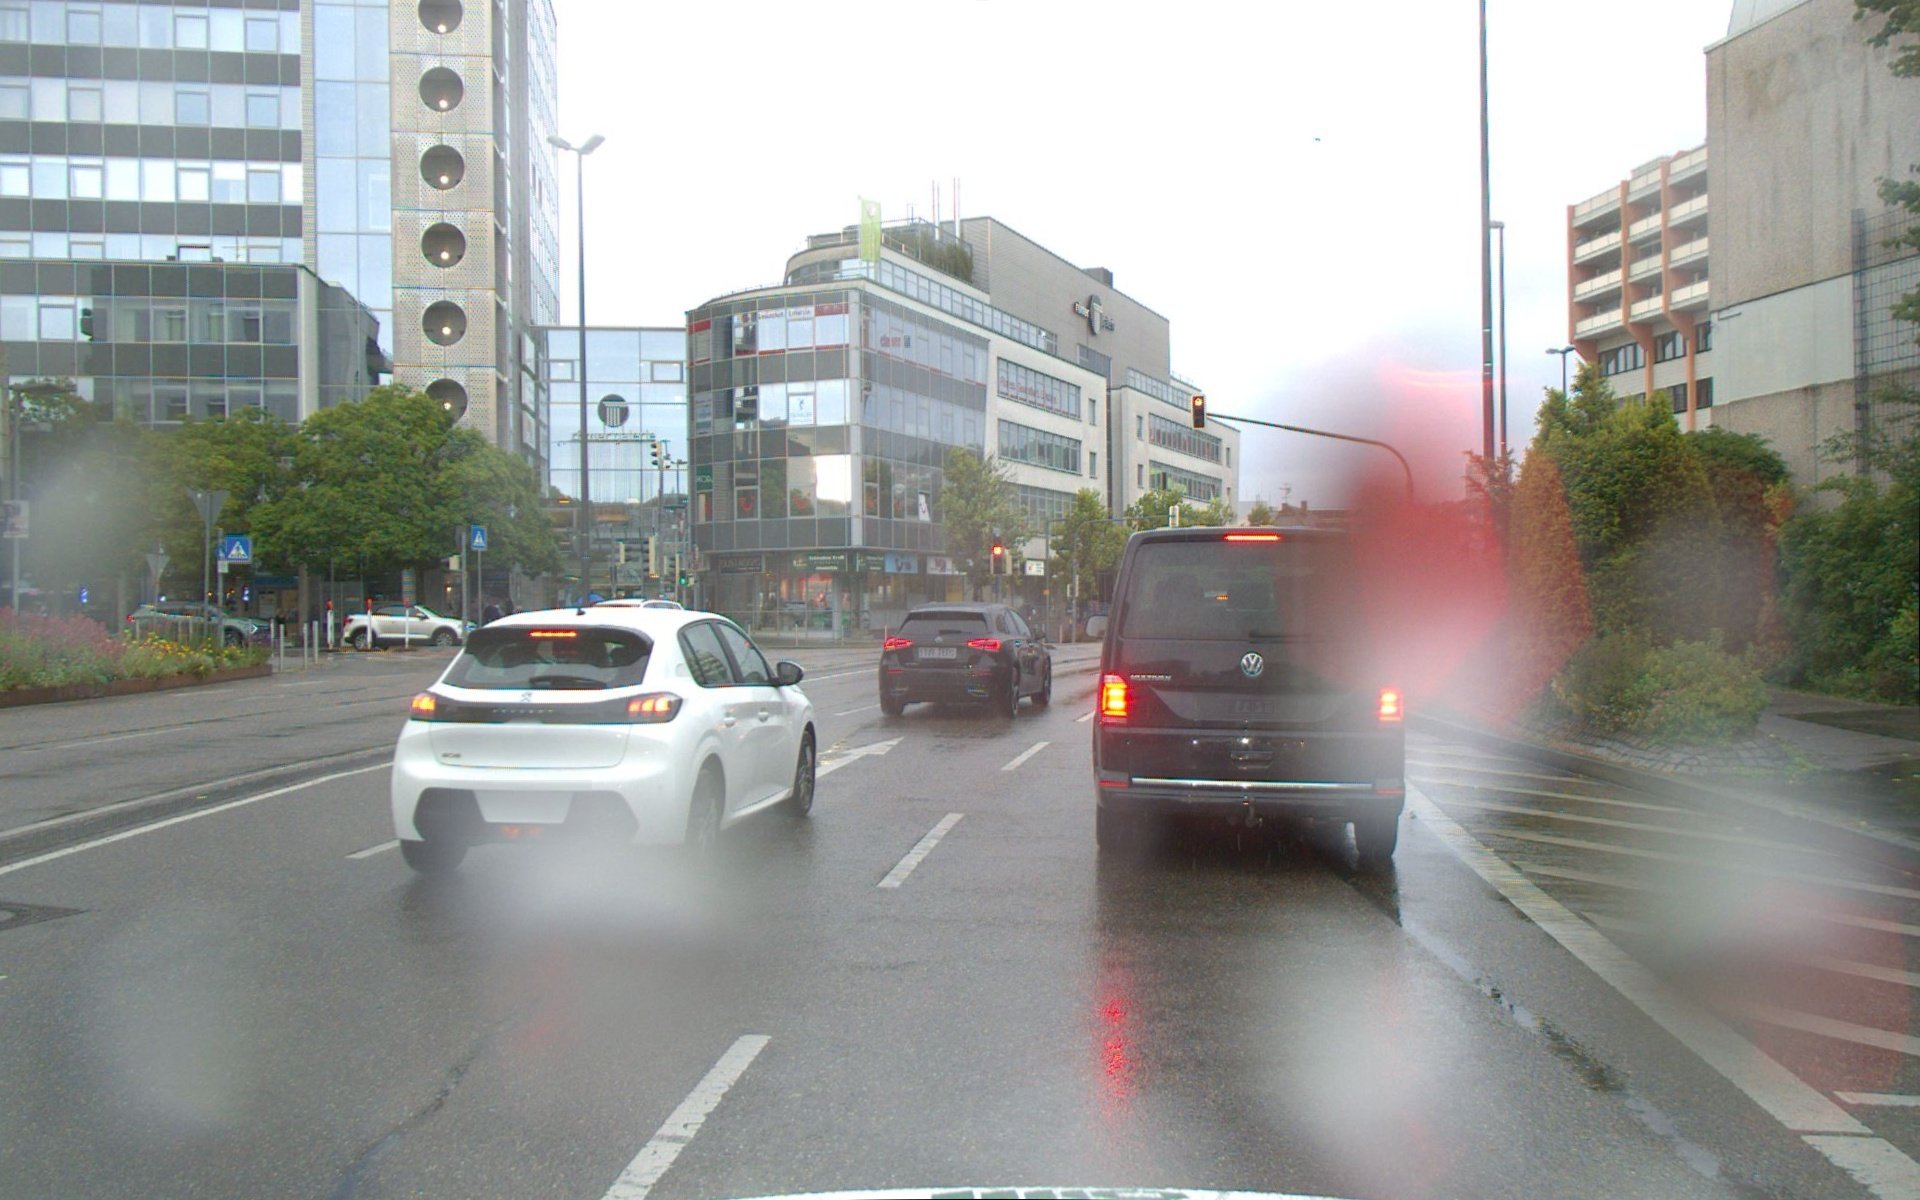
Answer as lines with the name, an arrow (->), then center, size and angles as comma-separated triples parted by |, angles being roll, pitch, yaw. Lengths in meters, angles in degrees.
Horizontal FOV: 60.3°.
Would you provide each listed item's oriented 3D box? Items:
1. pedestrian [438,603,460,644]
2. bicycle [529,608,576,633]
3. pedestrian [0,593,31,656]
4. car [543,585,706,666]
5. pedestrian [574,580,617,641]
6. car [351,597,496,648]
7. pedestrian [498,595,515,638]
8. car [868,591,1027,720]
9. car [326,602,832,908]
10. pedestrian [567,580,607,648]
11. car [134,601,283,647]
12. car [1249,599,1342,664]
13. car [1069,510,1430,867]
pedestrian -> -23.768, 1.091, 76.924 | 0.745, 1.901, 0.823 | -1, -1, -35
bicycle -> -20.764, 1.046, 84.336 | 2.232, 1.268, 0.675 | -1, -1, -10
pedestrian -> -20.963, 0.534, 36.600 | 0.486, 1.371, 0.536 | 0, 0, 28
car -> -7.537, 0.545, 37.669 | 1.845, 1.712, 4.509 | 0, 0, 15
pedestrian -> -11.232, 0.333, 50.919 | 0.828, 1.851, 1.024 | -2, -1, 24
car -> -17.337, 0.710, 53.595 | 4.109, 1.623, 1.869 | 0, 0, -4
pedestrian -> -21.428, 0.771, 78.140 | 0.750, 2.049, 0.711 | 0, 0, -17
car -> -0.082, 0.679, 22.430 | 1.777, 1.556, 3.815 | 1, 1, 5
car -> -2.053, 0.763, 10.132 | 1.832, 1.488, 3.876 | 0, 0, 6
pedestrian -> -11.476, 0.411, 50.846 | 1.143, 2.049, 1.323 | 0, 0, -15
car -> -24.247, 0.776, 53.482 | 3.963, 1.445, 1.869 | 0, 0, -2
car -> 7.770, 0.734, 38.114 | 1.871, 1.425, 3.460 | -1, -1, 15
car -> 1.873, 0.493, 11.356 | 1.953, 1.927, 4.590 | 0, 0, 7
